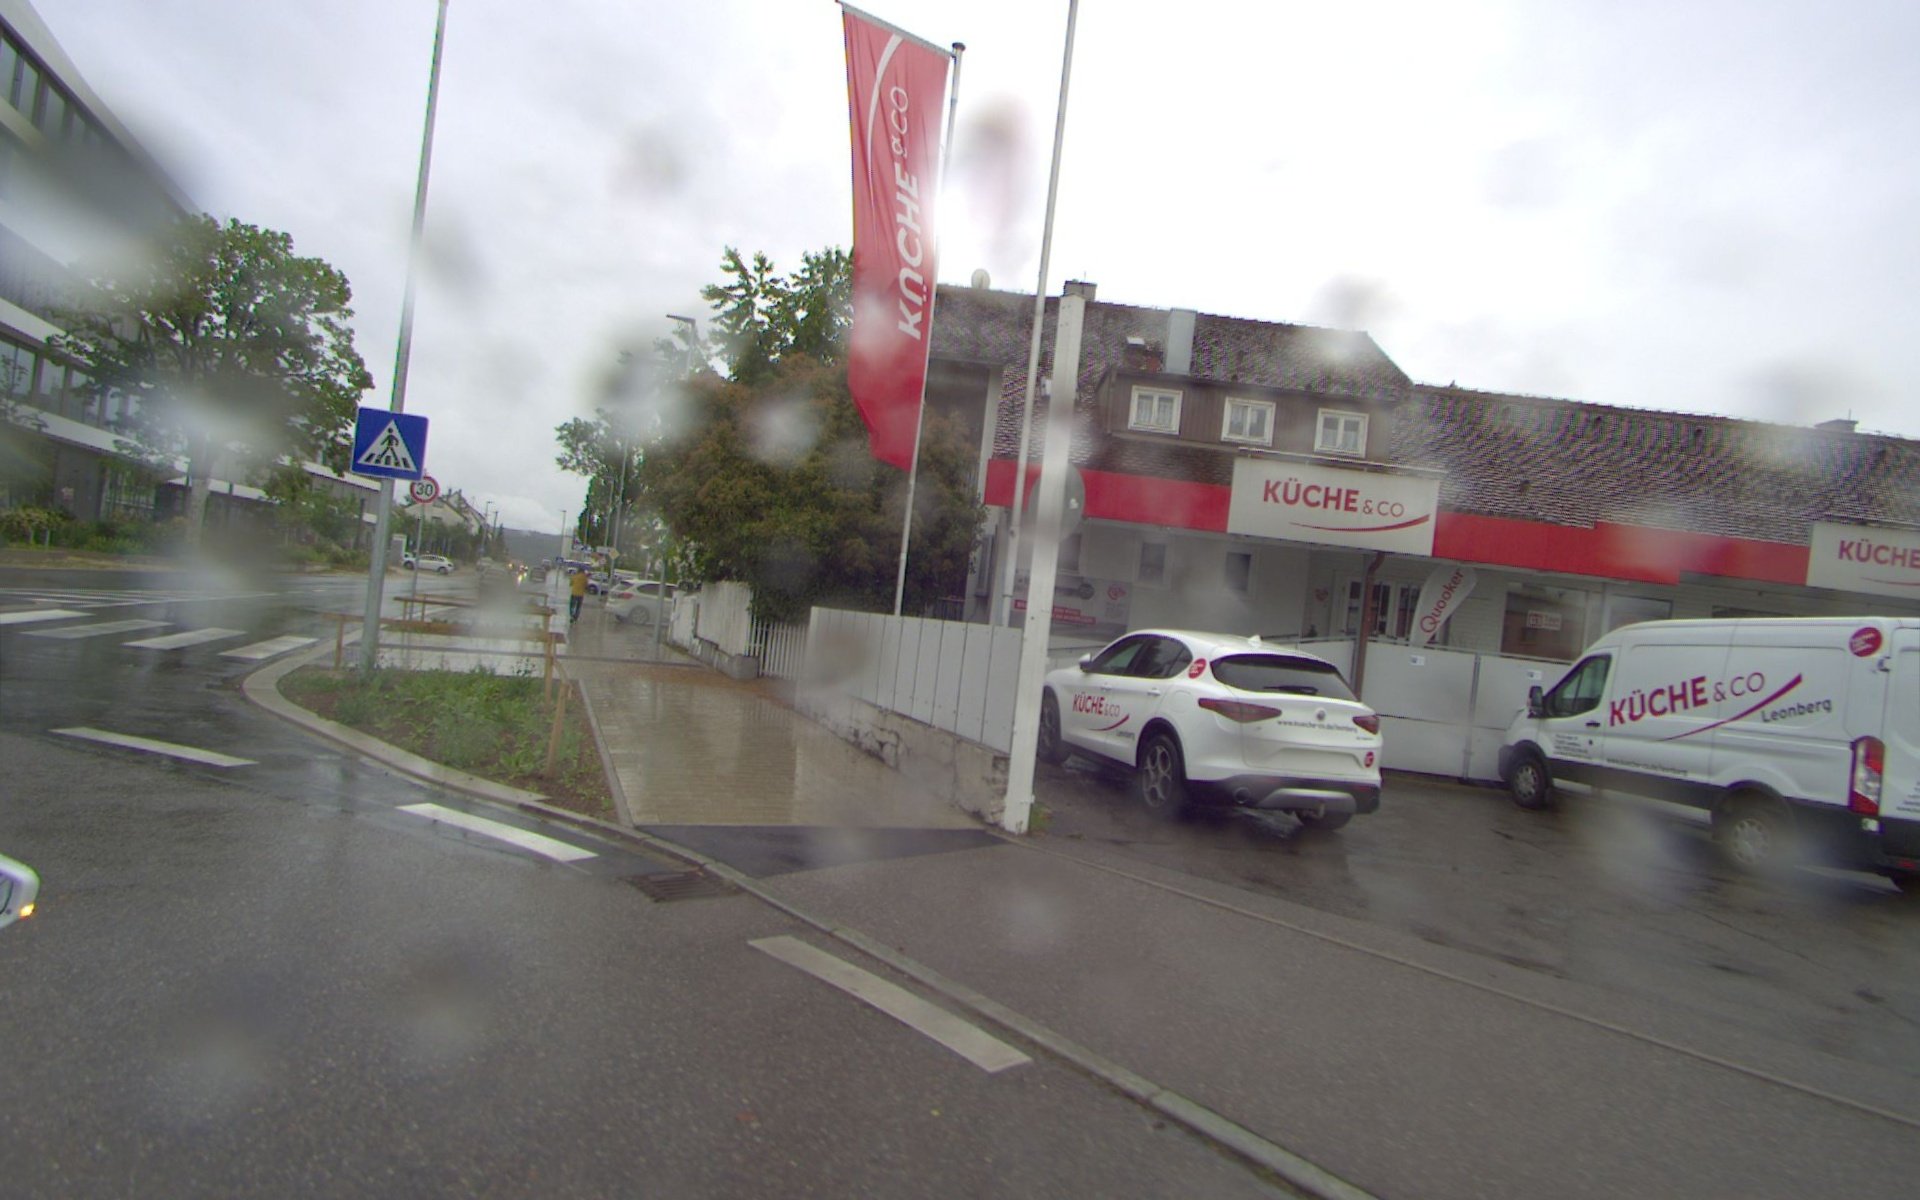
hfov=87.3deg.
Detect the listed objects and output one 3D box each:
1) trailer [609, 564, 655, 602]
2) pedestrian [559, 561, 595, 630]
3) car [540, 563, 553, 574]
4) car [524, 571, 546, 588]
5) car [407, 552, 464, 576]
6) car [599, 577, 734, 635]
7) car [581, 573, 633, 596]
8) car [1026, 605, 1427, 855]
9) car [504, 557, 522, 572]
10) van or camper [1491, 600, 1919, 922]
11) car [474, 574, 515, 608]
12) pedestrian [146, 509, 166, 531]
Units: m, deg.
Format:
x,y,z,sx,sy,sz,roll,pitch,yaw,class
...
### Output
x,y,z,sx,sy,sz,roll,pitch,yaw,class
-22.033,-1.138,67.597,2.673,2.197,1.541,8,0,-20,trailer
-11.918,-0.148,31.278,0.850,2.039,1.188,5,1,-23,pedestrian
-77.741,-5.910,189.055,1.976,1.723,3.983,11,-4,-22,car
-52.589,-2.518,124.433,2.135,1.723,3.983,11,-4,-22,car
-43.668,-2.982,83.870,3.887,1.440,1.889,8,-1,-21,car
-10.400,0.219,35.755,4.104,1.600,1.981,6,0,-36,car
-32.231,-1.428,91.910,4.151,1.670,1.996,6,0,-12,car
2.298,1.074,9.987,1.819,1.711,4.156,7,0,-16,car
-64.637,-5.137,145.580,1.983,1.839,4.954,7,-1,-22,car
8.371,1.421,10.805,2.091,2.571,5.261,7,0,-3,van or camper
-27.503,-0.512,59.502,1.932,1.571,3.979,12,-4,-24,car
-69.882,-6.961,87.470,1.004,1.745,0.768,8,0,-25,pedestrian
